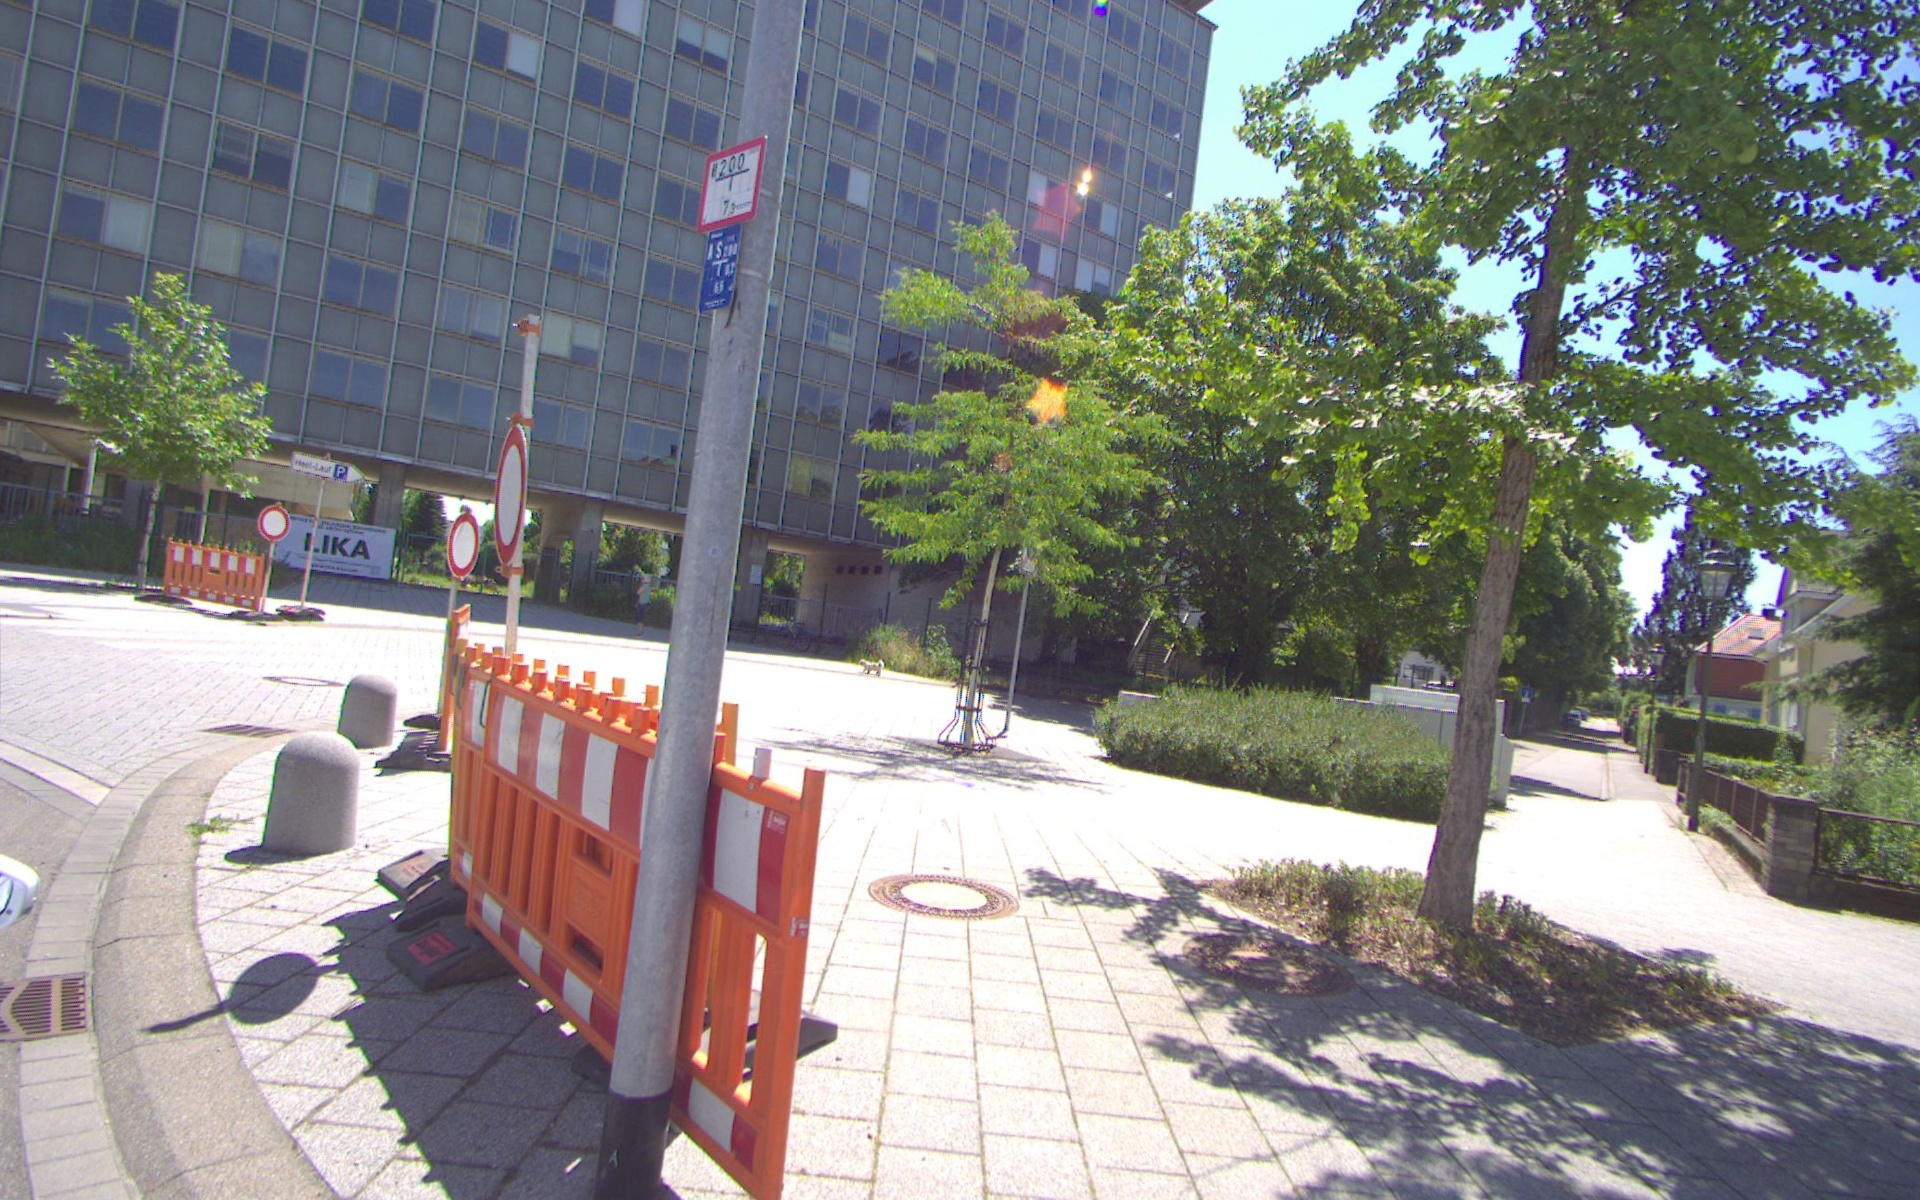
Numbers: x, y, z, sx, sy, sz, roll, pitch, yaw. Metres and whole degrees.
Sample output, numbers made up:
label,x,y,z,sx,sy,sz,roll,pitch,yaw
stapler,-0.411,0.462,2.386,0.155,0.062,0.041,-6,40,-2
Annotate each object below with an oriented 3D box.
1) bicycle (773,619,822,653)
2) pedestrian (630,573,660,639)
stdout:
label,x,y,z,sx,sy,sz,roll,pitch,yaw
bicycle,-5.313,1.161,32.852,1.728,0.918,0.447,6,-1,39
pedestrian,-8.700,0.173,27.778,0.559,1.729,0.484,7,1,-24
